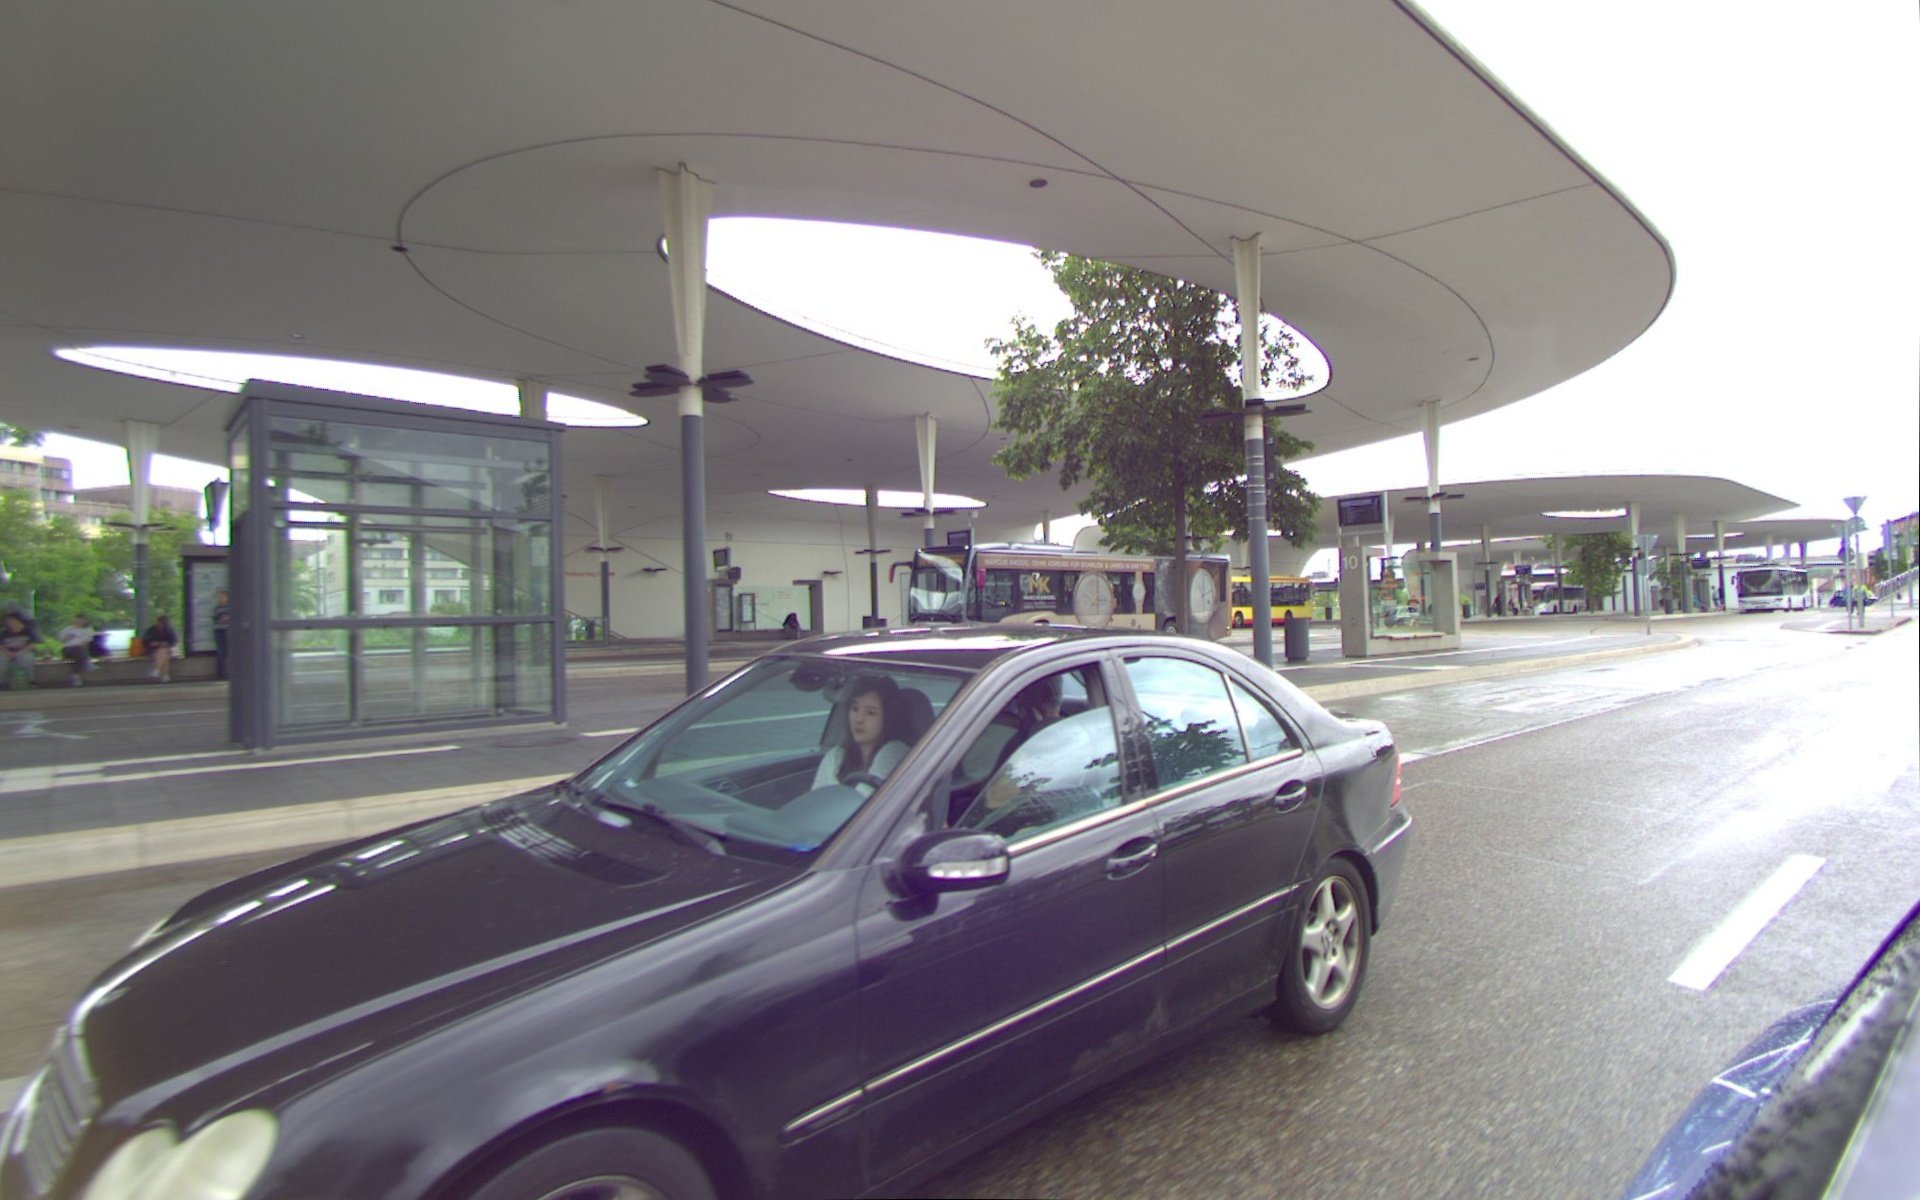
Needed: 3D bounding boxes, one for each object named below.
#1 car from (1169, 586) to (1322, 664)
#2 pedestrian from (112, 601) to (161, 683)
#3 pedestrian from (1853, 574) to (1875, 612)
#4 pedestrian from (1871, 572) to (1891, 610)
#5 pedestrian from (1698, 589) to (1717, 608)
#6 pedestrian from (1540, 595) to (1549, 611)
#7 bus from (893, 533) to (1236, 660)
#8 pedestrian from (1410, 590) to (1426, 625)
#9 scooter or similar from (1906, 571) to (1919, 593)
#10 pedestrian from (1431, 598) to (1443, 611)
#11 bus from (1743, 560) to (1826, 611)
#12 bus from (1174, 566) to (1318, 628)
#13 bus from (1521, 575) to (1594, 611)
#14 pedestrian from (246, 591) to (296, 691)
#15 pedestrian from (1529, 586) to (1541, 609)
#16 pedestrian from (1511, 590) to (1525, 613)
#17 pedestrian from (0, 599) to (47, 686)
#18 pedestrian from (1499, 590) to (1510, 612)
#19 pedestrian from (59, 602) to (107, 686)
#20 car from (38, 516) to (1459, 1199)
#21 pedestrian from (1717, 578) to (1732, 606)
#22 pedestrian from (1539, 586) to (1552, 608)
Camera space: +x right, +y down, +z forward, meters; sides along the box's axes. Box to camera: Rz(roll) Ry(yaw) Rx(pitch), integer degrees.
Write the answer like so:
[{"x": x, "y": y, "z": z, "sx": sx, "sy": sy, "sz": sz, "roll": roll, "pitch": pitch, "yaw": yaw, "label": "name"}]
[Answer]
[{"x": 5.932, "y": 0.486, "z": 20.899, "sx": 3.184, "sy": 1.472, "sz": 1.648, "roll": 0, "pitch": -1, "yaw": -44, "label": "car"}, {"x": -15.111, "y": 0.760, "z": 18.571, "sx": 0.625, "sy": 1.462, "sz": 0.560, "roll": -1, "pitch": -1, "yaw": -45, "label": "pedestrian"}, {"x": 42.049, "y": -0.306, "z": 47.084, "sx": 0.571, "sy": 1.690, "sz": 0.589, "roll": -6, "pitch": 0, "yaw": -42, "label": "pedestrian"}, {"x": 42.428, "y": -0.425, "z": 46.624, "sx": 0.571, "sy": 1.691, "sz": 0.523, "roll": -4, "pitch": 0, "yaw": -42, "label": "pedestrian"}, {"x": 50.783, "y": -0.096, "z": 68.769, "sx": 0.943, "sy": 1.271, "sz": 0.643, "roll": 1, "pitch": -1, "yaw": 25, "label": "pedestrian"}, {"x": 42.806, "y": 0.205, "z": 74.111, "sx": 0.357, "sy": 1.159, "sz": 0.396, "roll": -1, "pitch": 0, "yaw": 0, "label": "pedestrian"}, {"x": 3.555, "y": -0.148, "z": 29.606, "sx": 11.882, "sy": 3.082, "sz": 2.725, "roll": -1, "pitch": 0, "yaw": -42, "label": "bus"}, {"x": 23.045, "y": 0.361, "z": 50.901, "sx": 0.711, "sy": 1.705, "sz": 1.014, "roll": 0, "pitch": 1, "yaw": 22, "label": "pedestrian"}, {"x": 54.316, "y": -1.042, "z": 57.663, "sx": 1.828, "sy": 1.236, "sz": 0.464, "roll": -1, "pitch": -1, "yaw": -43, "label": "scooter or similar"}, {"x": 52.864, "y": 0.533, "z": 112.108, "sx": 0.699, "sy": 1.341, "sz": 0.800, "roll": -5, "pitch": -1, "yaw": -37, "label": "pedestrian"}, {"x": 59.601, "y": -1.061, "z": 73.026, "sx": 12.214, "sy": 3.403, "sz": 2.849, "roll": -1, "pitch": 2, "yaw": -43, "label": "bus"}, {"x": 17.865, "y": -0.278, "z": 62.353, "sx": 11.944, "sy": 3.298, "sz": 2.790, "roll": -3, "pitch": 1, "yaw": -44, "label": "bus"}, {"x": 59.234, "y": -0.713, "z": 100.132, "sx": 11.935, "sy": 3.299, "sz": 2.791, "roll": -2, "pitch": 0, "yaw": -42, "label": "bus"}, {"x": -12.042, "y": 0.706, "z": 17.681, "sx": 0.559, "sy": 1.714, "sz": 0.604, "roll": -3, "pitch": -2, "yaw": 42, "label": "pedestrian"}, {"x": 42.979, "y": -0.183, "z": 75.627, "sx": 0.547, "sy": 1.675, "sz": 0.570, "roll": -1, "pitch": -1, "yaw": -36, "label": "pedestrian"}, {"x": 40.217, "y": 0.108, "z": 72.916, "sx": 0.588, "sy": 1.609, "sz": 0.667, "roll": -7, "pitch": -2, "yaw": 44, "label": "pedestrian"}, {"x": -16.302, "y": 0.719, "z": 17.594, "sx": 0.604, "sy": 1.462, "sz": 0.560, "roll": -1, "pitch": -1, "yaw": -45, "label": "pedestrian"}, {"x": 38.666, "y": 0.079, "z": 71.838, "sx": 0.513, "sy": 1.521, "sz": 0.381, "roll": -2, "pitch": -1, "yaw": 9, "label": "pedestrian"}, {"x": -15.755, "y": 0.779, "z": 18.186, "sx": 0.604, "sy": 1.462, "sz": 0.560, "roll": -1, "pitch": -1, "yaw": -45, "label": "pedestrian"}, {"x": -0.094, "y": 0.676, "z": 3.271, "sx": 4.231, "sy": 1.481, "sz": 1.699, "roll": 2, "pitch": -1, "yaw": -43, "label": "car"}, {"x": 51.654, "y": -0.539, "z": 68.391, "sx": 0.636, "sy": 1.911, "sz": 0.587, "roll": 2, "pitch": -1, "yaw": -32, "label": "pedestrian"}, {"x": 43.998, "y": -0.222, "z": 76.054, "sx": 0.632, "sy": 1.675, "sz": 0.638, "roll": -1, "pitch": 0, "yaw": 8, "label": "pedestrian"}]
